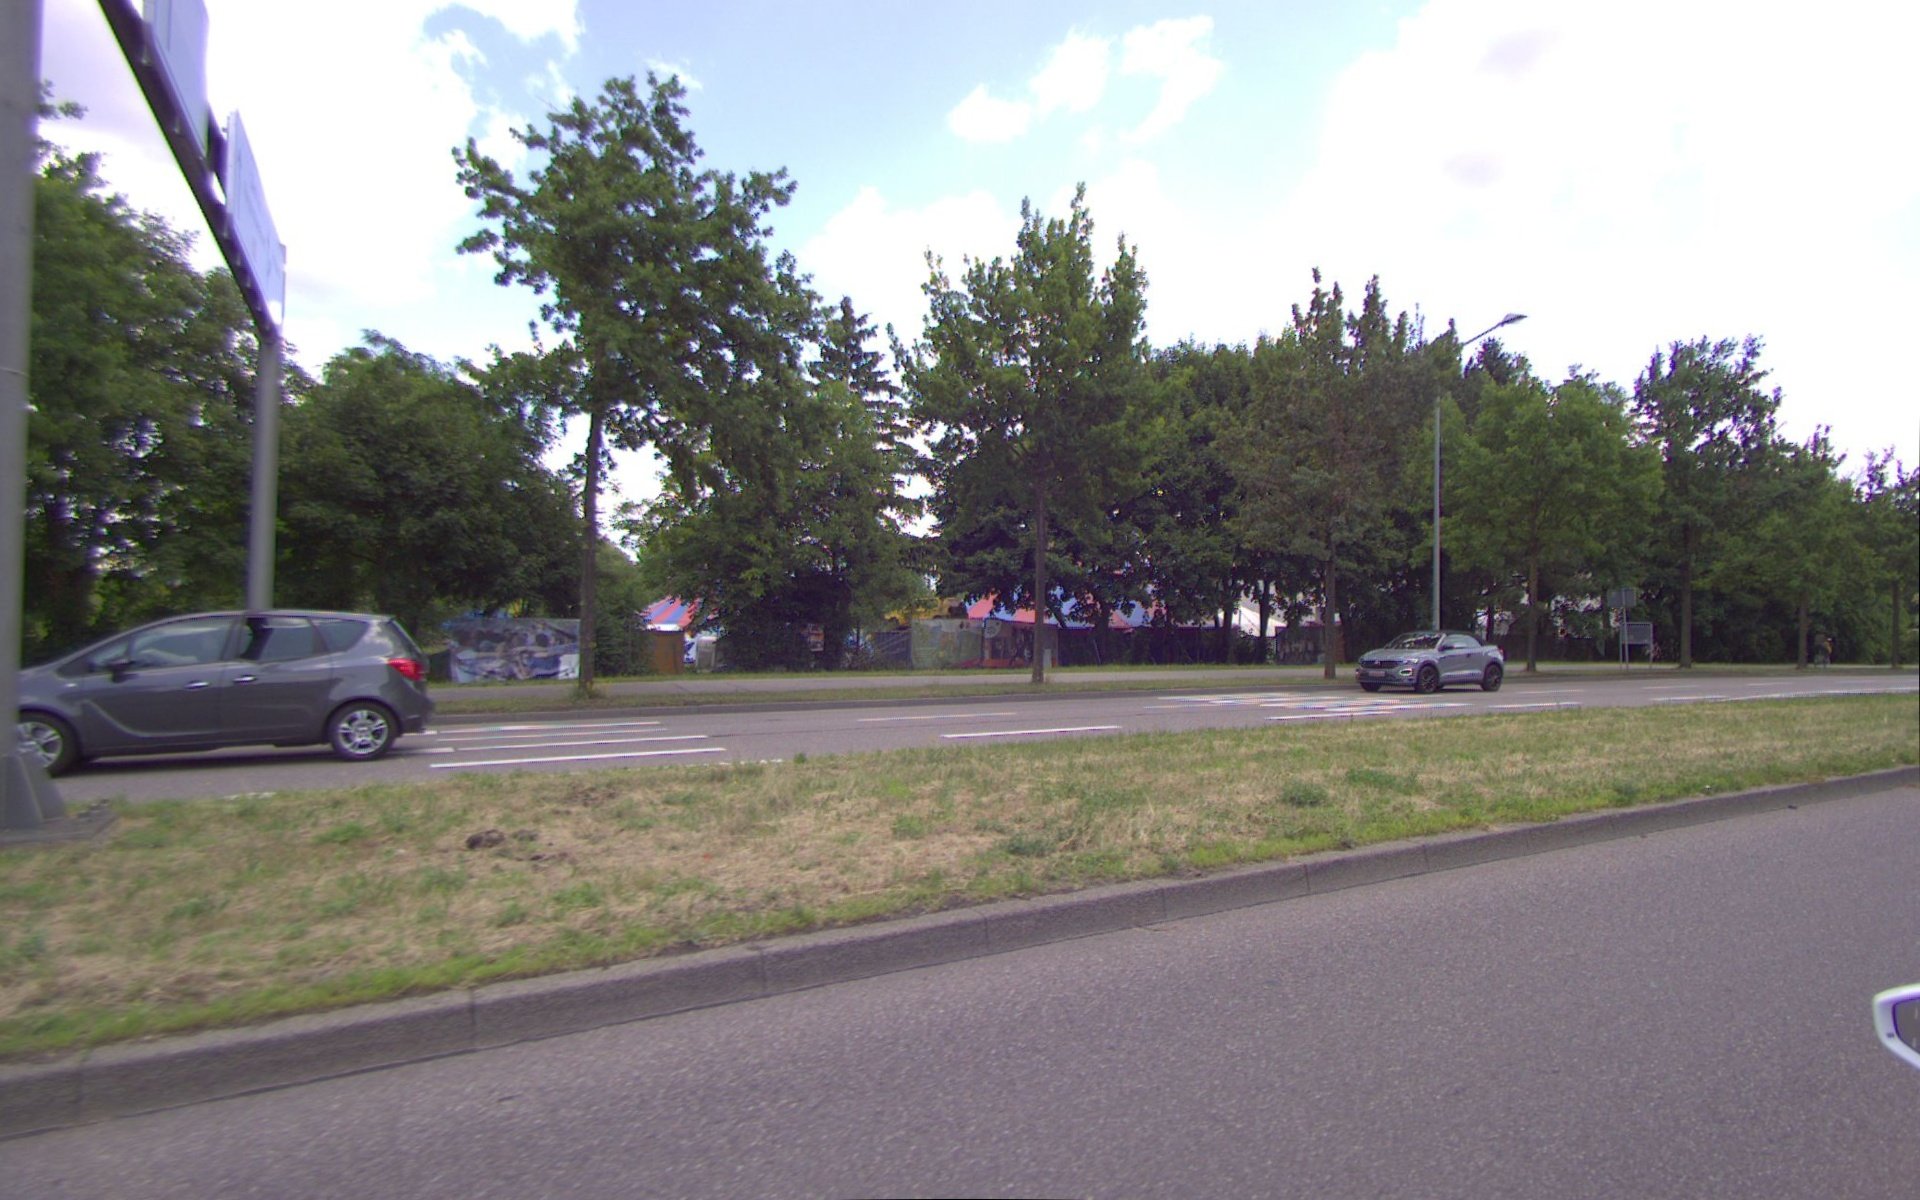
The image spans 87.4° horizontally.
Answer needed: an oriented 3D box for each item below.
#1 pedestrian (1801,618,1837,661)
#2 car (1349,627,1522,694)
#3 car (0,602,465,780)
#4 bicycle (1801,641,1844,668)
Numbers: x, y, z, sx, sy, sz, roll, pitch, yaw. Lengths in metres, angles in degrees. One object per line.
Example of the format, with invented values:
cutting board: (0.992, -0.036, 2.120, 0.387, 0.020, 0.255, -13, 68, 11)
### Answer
pedestrian: (41.791, 1.917, 48.867, 1.234, 2.040, 0.966, 1, 0, -29)
car: (12.043, 1.492, 25.384, 4.521, 1.566, 1.733, 1, -3, -31)
car: (-7.651, 0.878, 10.586, 4.227, 1.589, 1.733, 1, -3, -31)
bicycle: (41.845, 2.622, 48.717, 2.471, 1.243, 0.804, 1, -2, -29)
